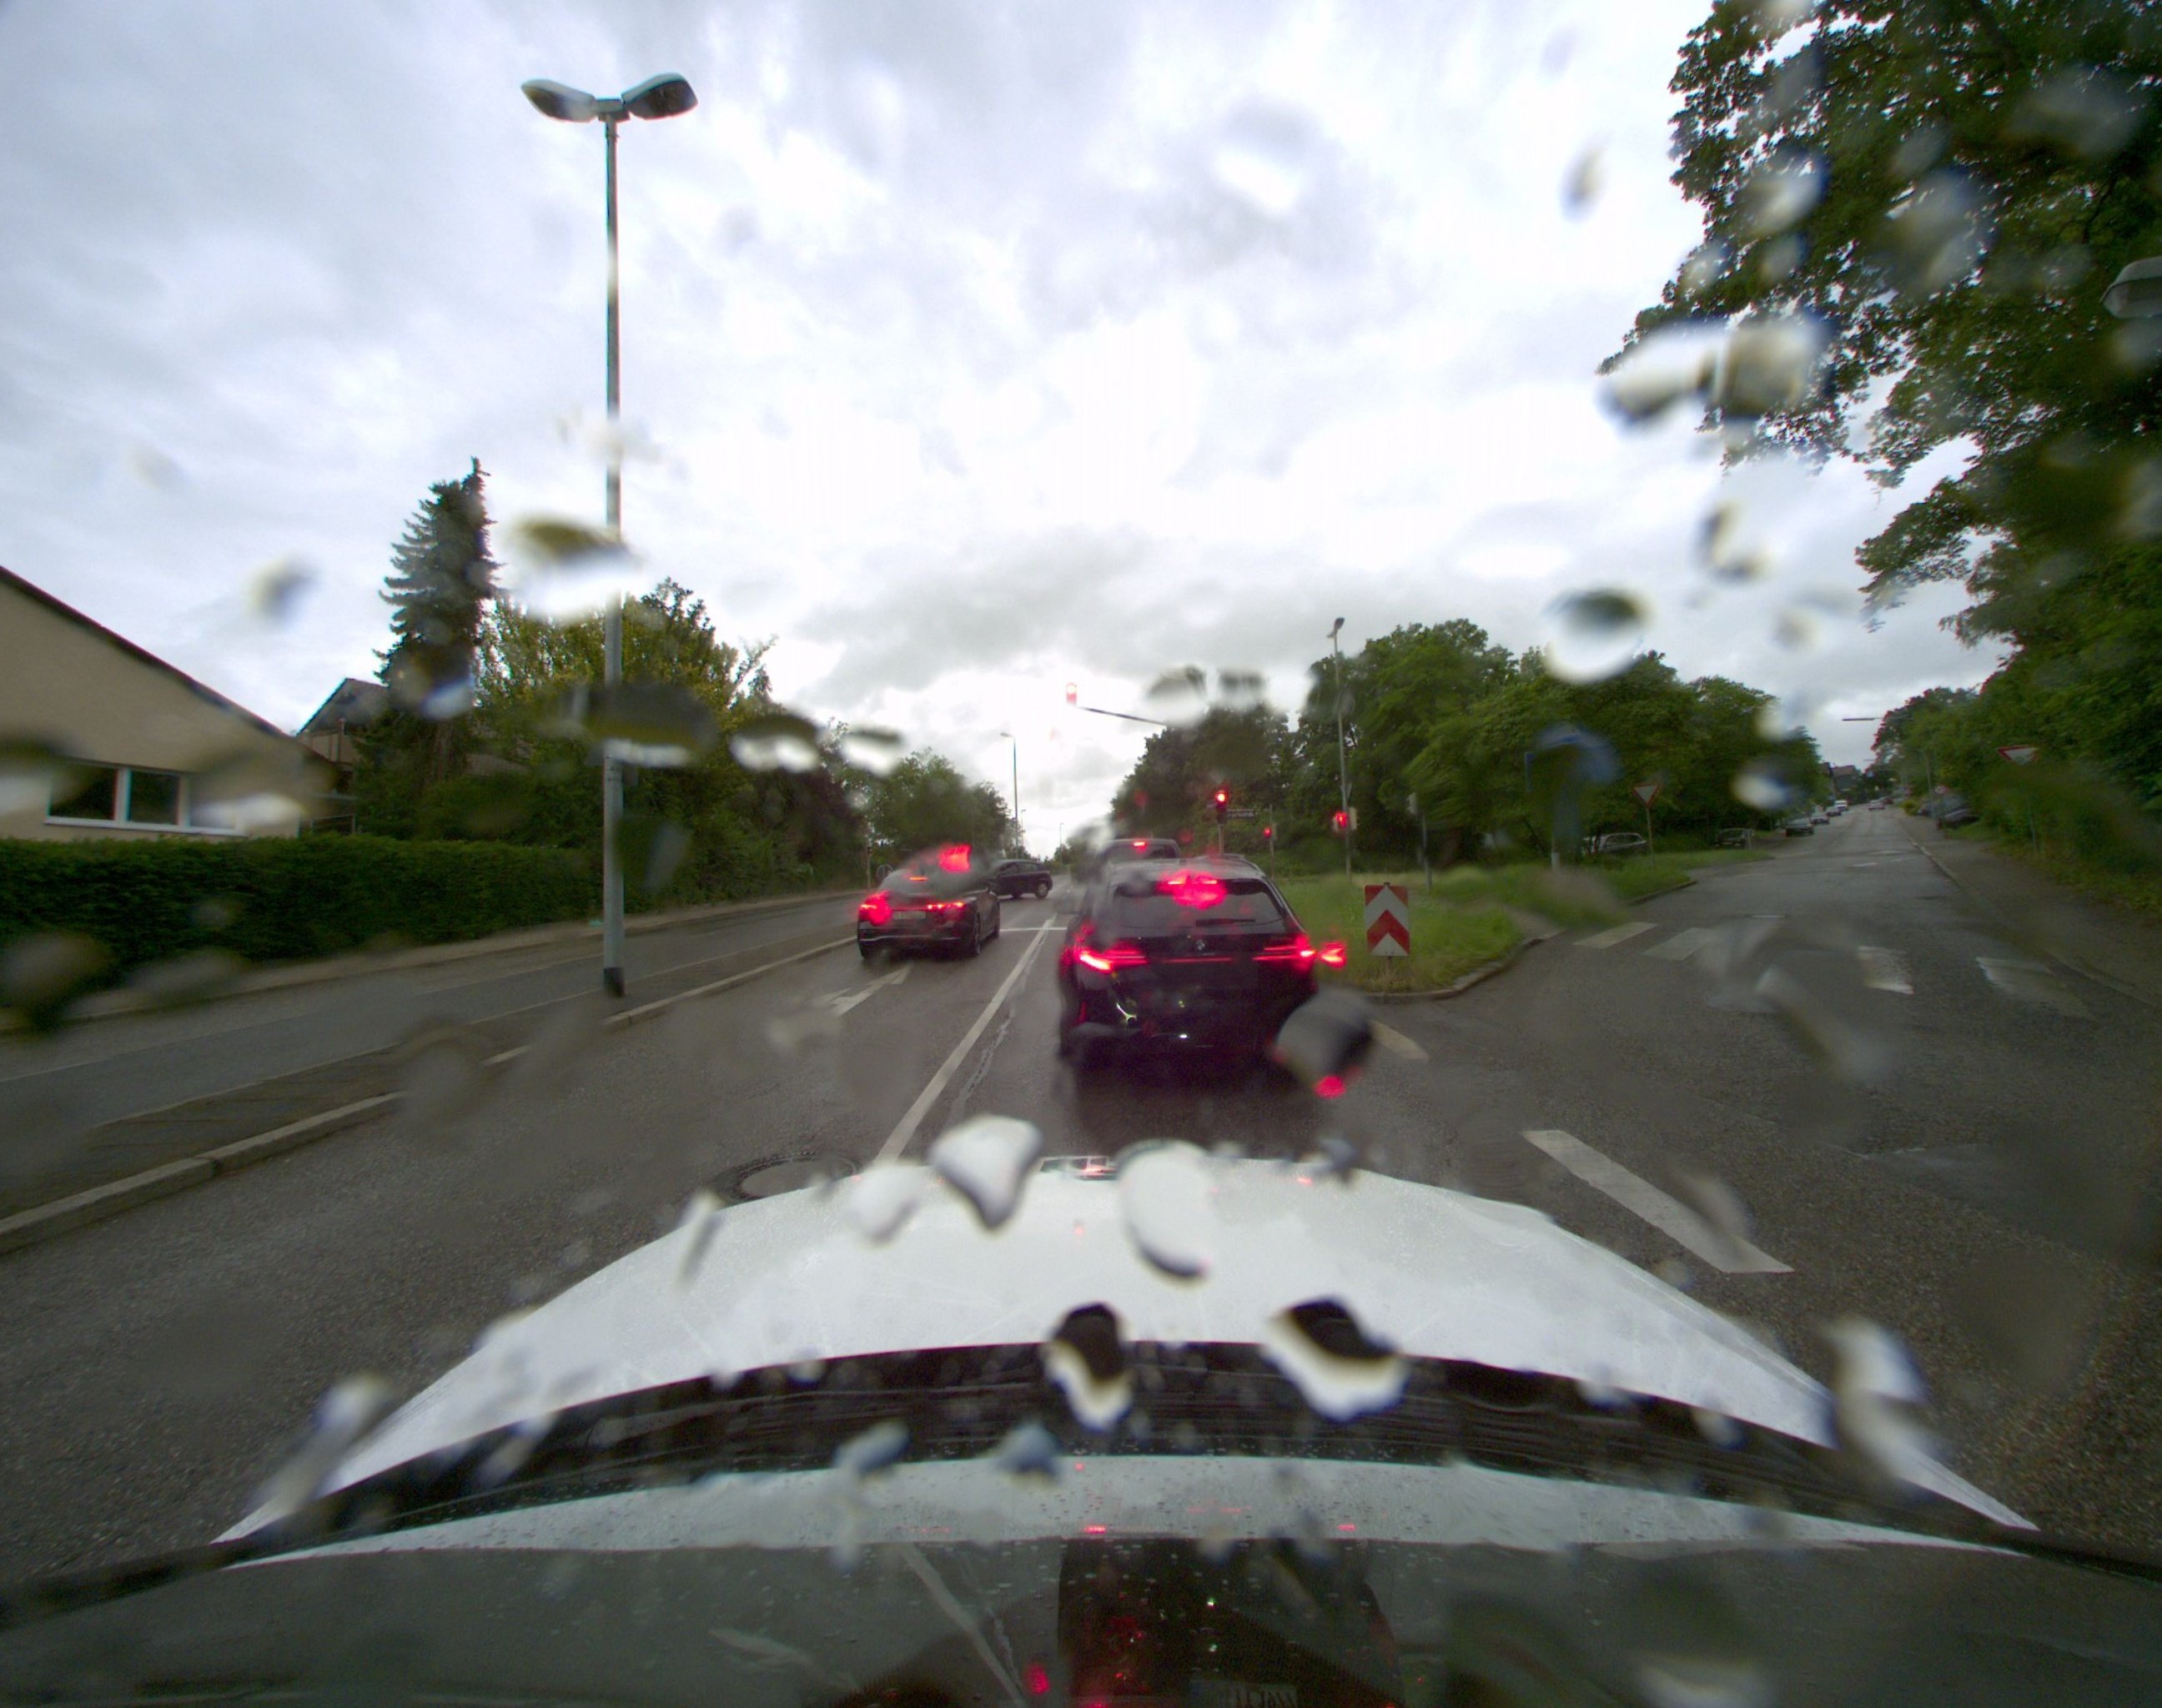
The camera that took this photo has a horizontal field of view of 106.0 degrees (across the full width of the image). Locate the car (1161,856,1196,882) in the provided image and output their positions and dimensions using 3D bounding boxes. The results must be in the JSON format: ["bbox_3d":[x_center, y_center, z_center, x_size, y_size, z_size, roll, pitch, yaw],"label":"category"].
[{"bbox_3d":[6.350,0.967,53.420,1.866,1.543,3.954,-4,-1,2],"label":"car"}]

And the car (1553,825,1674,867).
[{"bbox_3d":[25.590,-0.388,39.199,4.699,1.717,1.995,-3,0,-8],"label":"car"}]

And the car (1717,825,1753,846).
[{"bbox_3d":[46.034,-1.312,57.299,1.655,1.370,3.512,-3,0,43],"label":"car"}]

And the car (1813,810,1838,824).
[{"bbox_3d":[88.192,-4.370,96.565,1.971,1.446,4.321,-2,-1,40],"label":"car"}]

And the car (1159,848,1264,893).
[{"bbox_3d":[5.600,0.695,34.944,4.027,1.602,1.739,-4,0,-16],"label":"car"}]

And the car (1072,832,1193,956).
[{"bbox_3d":[0.868,0.628,14.459,1.811,1.868,3.954,-1,-1,2],"label":"car"}]

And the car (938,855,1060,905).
[{"bbox_3d":[-2.953,0.925,29.806,4.021,1.509,1.879,-3,0,-40],"label":"car"}]

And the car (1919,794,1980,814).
[{"bbox_3d":[87.604,-5.011,82.209,3.949,1.574,1.785,-5,-1,42],"label":"car"}]

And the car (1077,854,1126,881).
[{"bbox_3d":[1.161,0.841,48.648,1.703,1.427,3.489,-3,-1,-20],"label":"car"}]

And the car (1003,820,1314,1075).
[{"bbox_3d":[0.681,0.629,7.338,1.889,1.551,4.621,-1,-1,5],"label":"car"}]

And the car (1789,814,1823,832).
[{"bbox_3d":[66.275,-2.769,74.425,4.318,1.450,1.881,0,-1,-44],"label":"car"}]

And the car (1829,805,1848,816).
[{"bbox_3d":[114.466,-6.625,123.102,1.880,1.397,4.193,-2,-1,40],"label":"car"}]

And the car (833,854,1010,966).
[{"bbox_3d":[-2.545,0.849,14.183,1.986,1.527,4.330,-4,-1,2],"label":"car"}]
